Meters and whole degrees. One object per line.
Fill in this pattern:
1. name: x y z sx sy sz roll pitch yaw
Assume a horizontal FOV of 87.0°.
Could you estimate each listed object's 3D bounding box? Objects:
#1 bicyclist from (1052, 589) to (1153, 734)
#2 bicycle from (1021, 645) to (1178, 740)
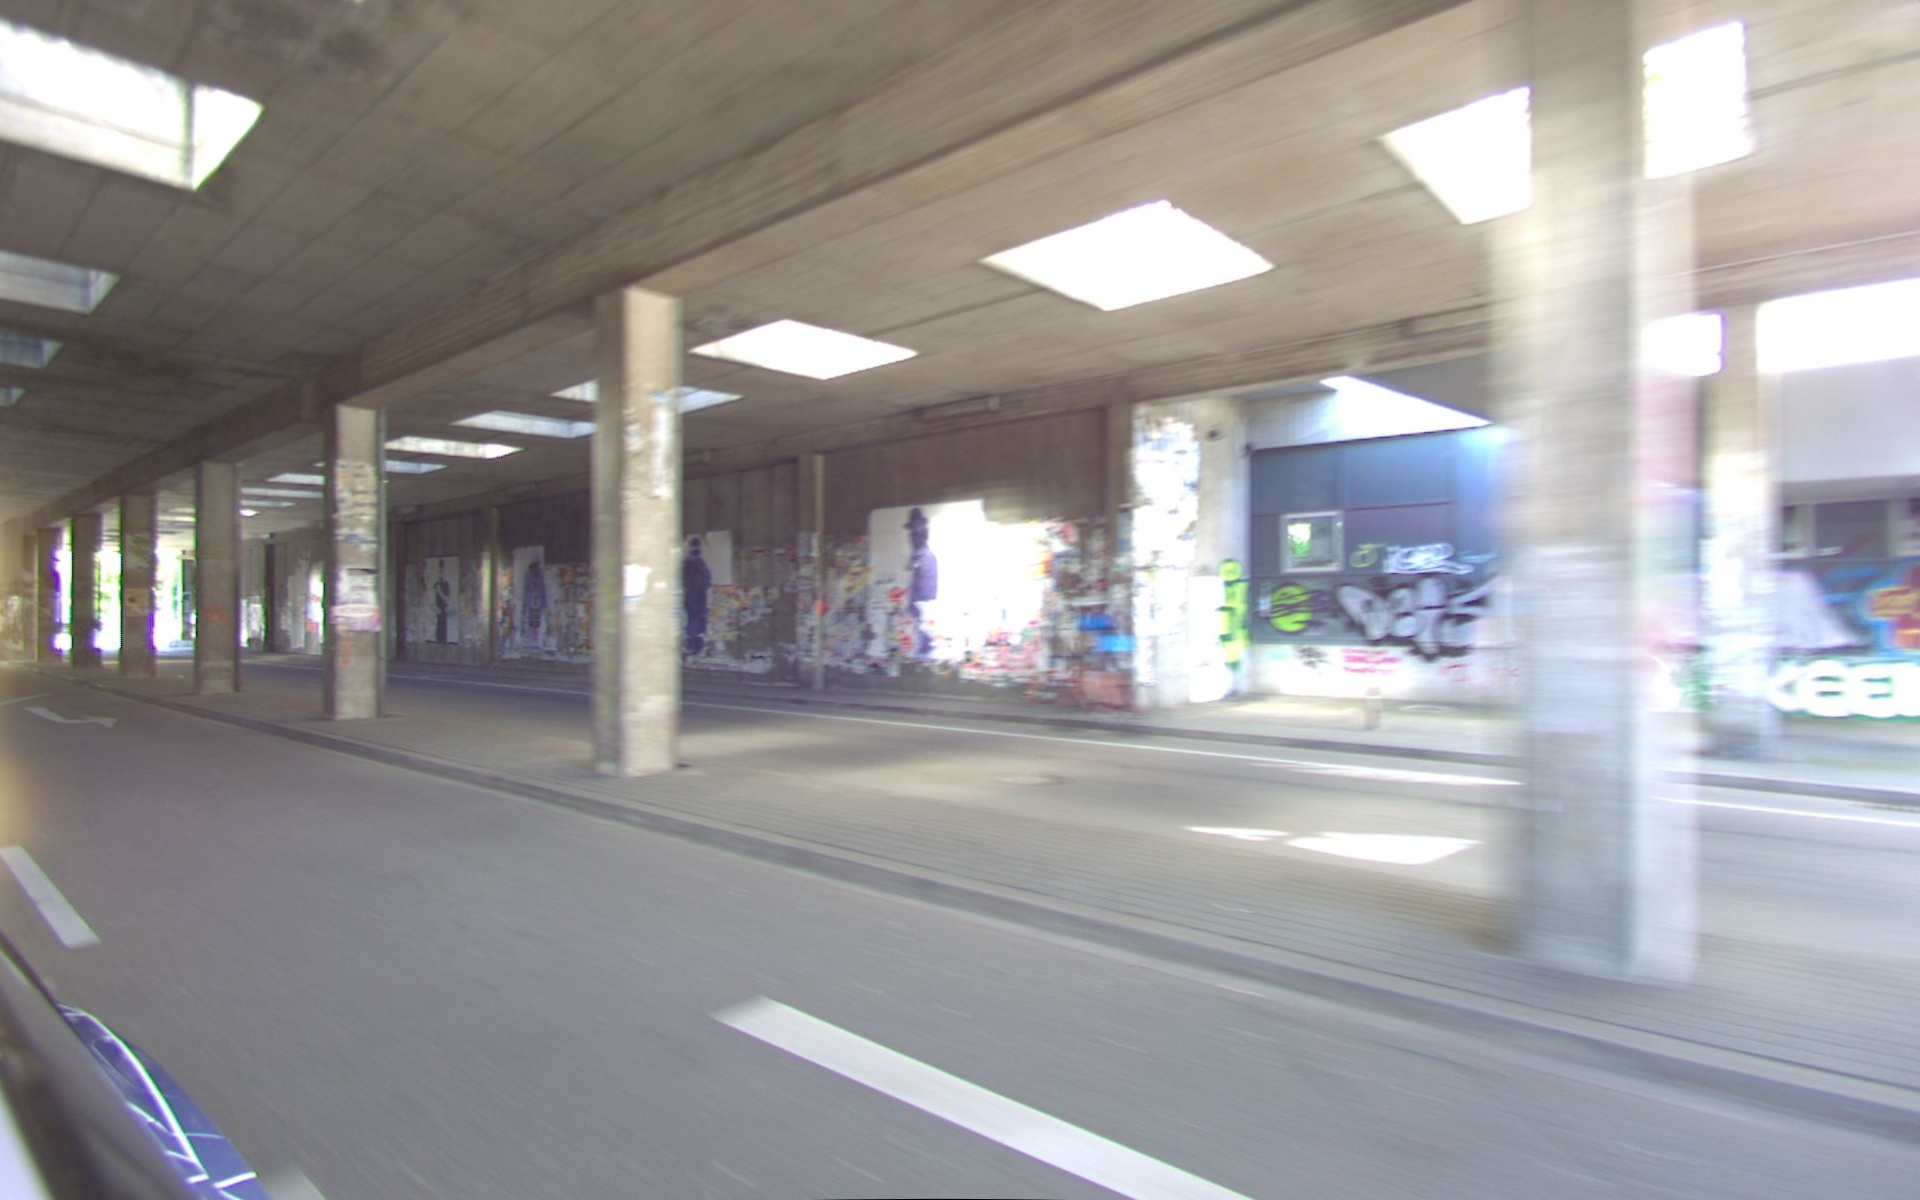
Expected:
1. bicyclist: 1.777 0.759 12.667 0.966 1.725 0.738 -4 -4 41
2. bicycle: 1.720 1.142 12.697 1.859 1.098 0.691 -4 -4 41
